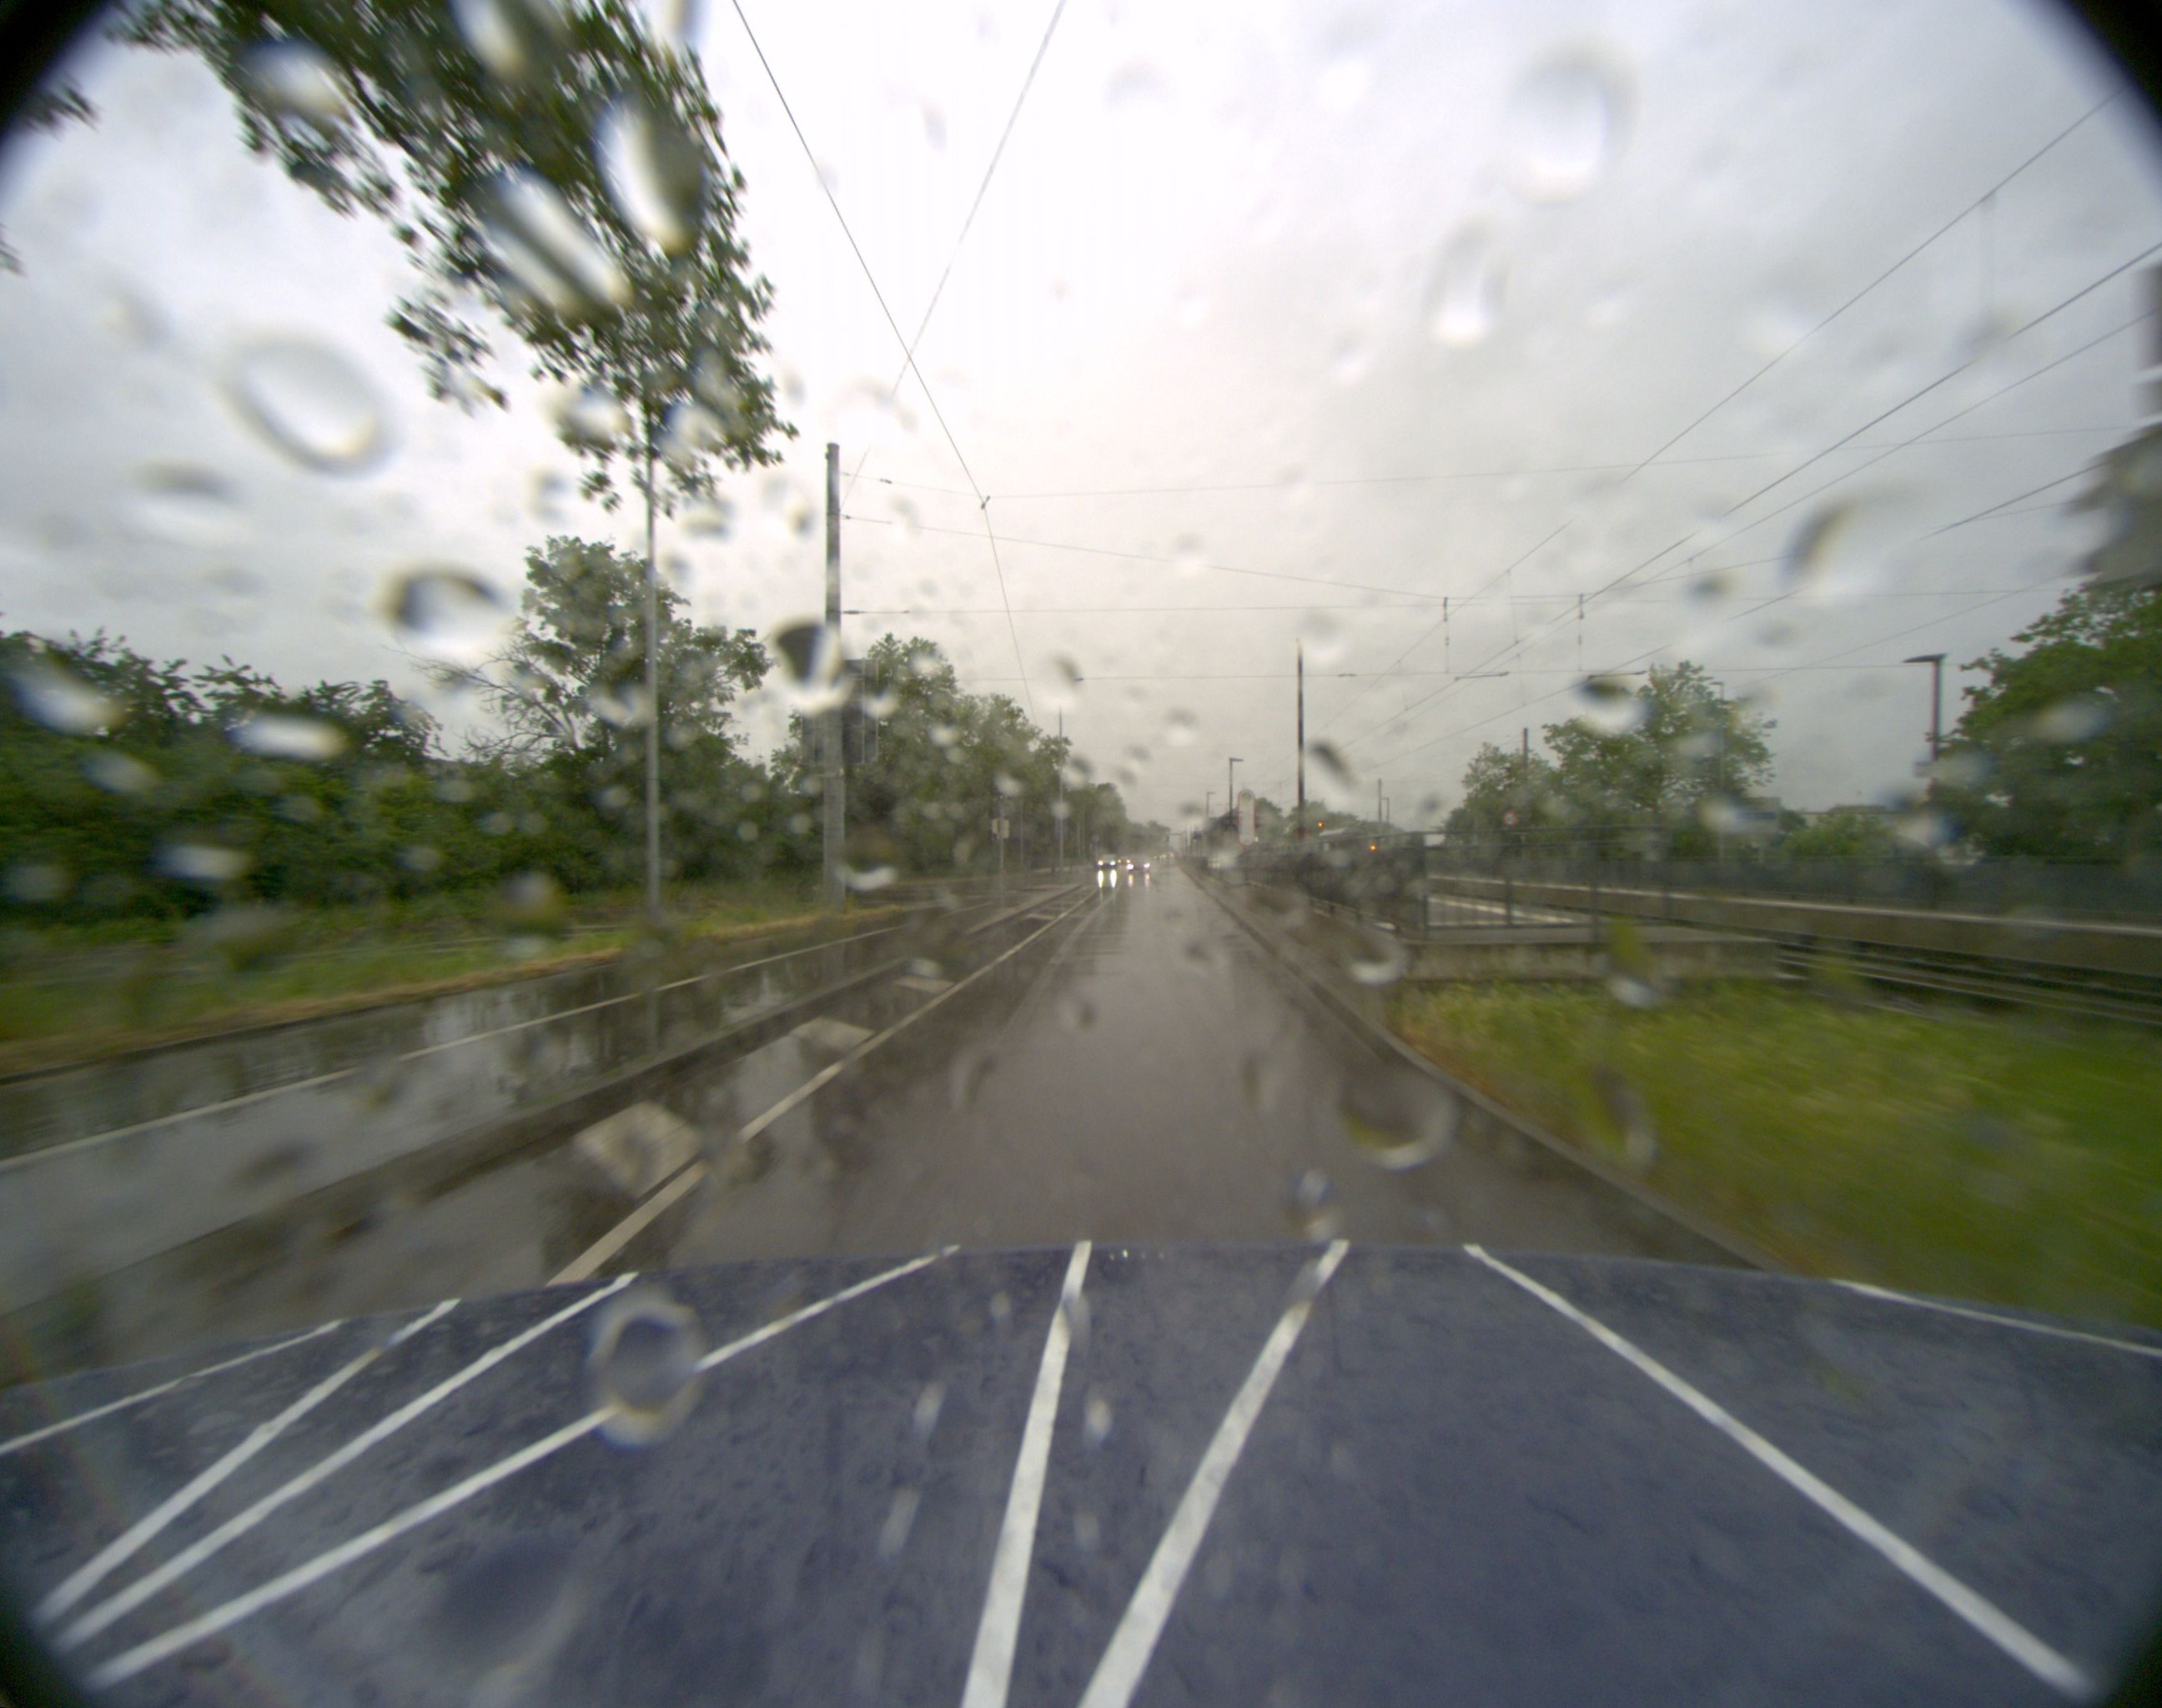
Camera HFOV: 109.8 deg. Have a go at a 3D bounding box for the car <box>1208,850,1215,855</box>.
[{"bbox_3d":[41.635,-0.492,241.980,1.997,1.761,4.260,-1,0,7],"label":"car"}]

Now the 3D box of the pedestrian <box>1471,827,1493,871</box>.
[{"bbox_3d":[37.260,-0.486,70.653,1.172,4.006,1.518,-1,1,-4],"label":"pedestrian"}]

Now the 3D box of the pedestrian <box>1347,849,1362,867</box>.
[{"bbox_3d":[20.143,0.276,55.980,0.832,1.308,0.858,-2,0,7],"label":"pedestrian"}]

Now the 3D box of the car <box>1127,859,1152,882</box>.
[{"bbox_3d":[5.322,1.460,68.799,1.997,2.002,4.002,-1,0,7],"label":"car"}]

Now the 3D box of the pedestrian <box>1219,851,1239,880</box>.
[{"bbox_3d":[6.944,0.529,35.679,0.815,1.332,0.660,-1,0,6],"label":"pedestrian"}]

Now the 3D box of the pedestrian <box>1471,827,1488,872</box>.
[{"bbox_3d":[35.681,-0.431,68.064,1.169,4.006,1.522,0,1,34],"label":"pedestrian"}]
